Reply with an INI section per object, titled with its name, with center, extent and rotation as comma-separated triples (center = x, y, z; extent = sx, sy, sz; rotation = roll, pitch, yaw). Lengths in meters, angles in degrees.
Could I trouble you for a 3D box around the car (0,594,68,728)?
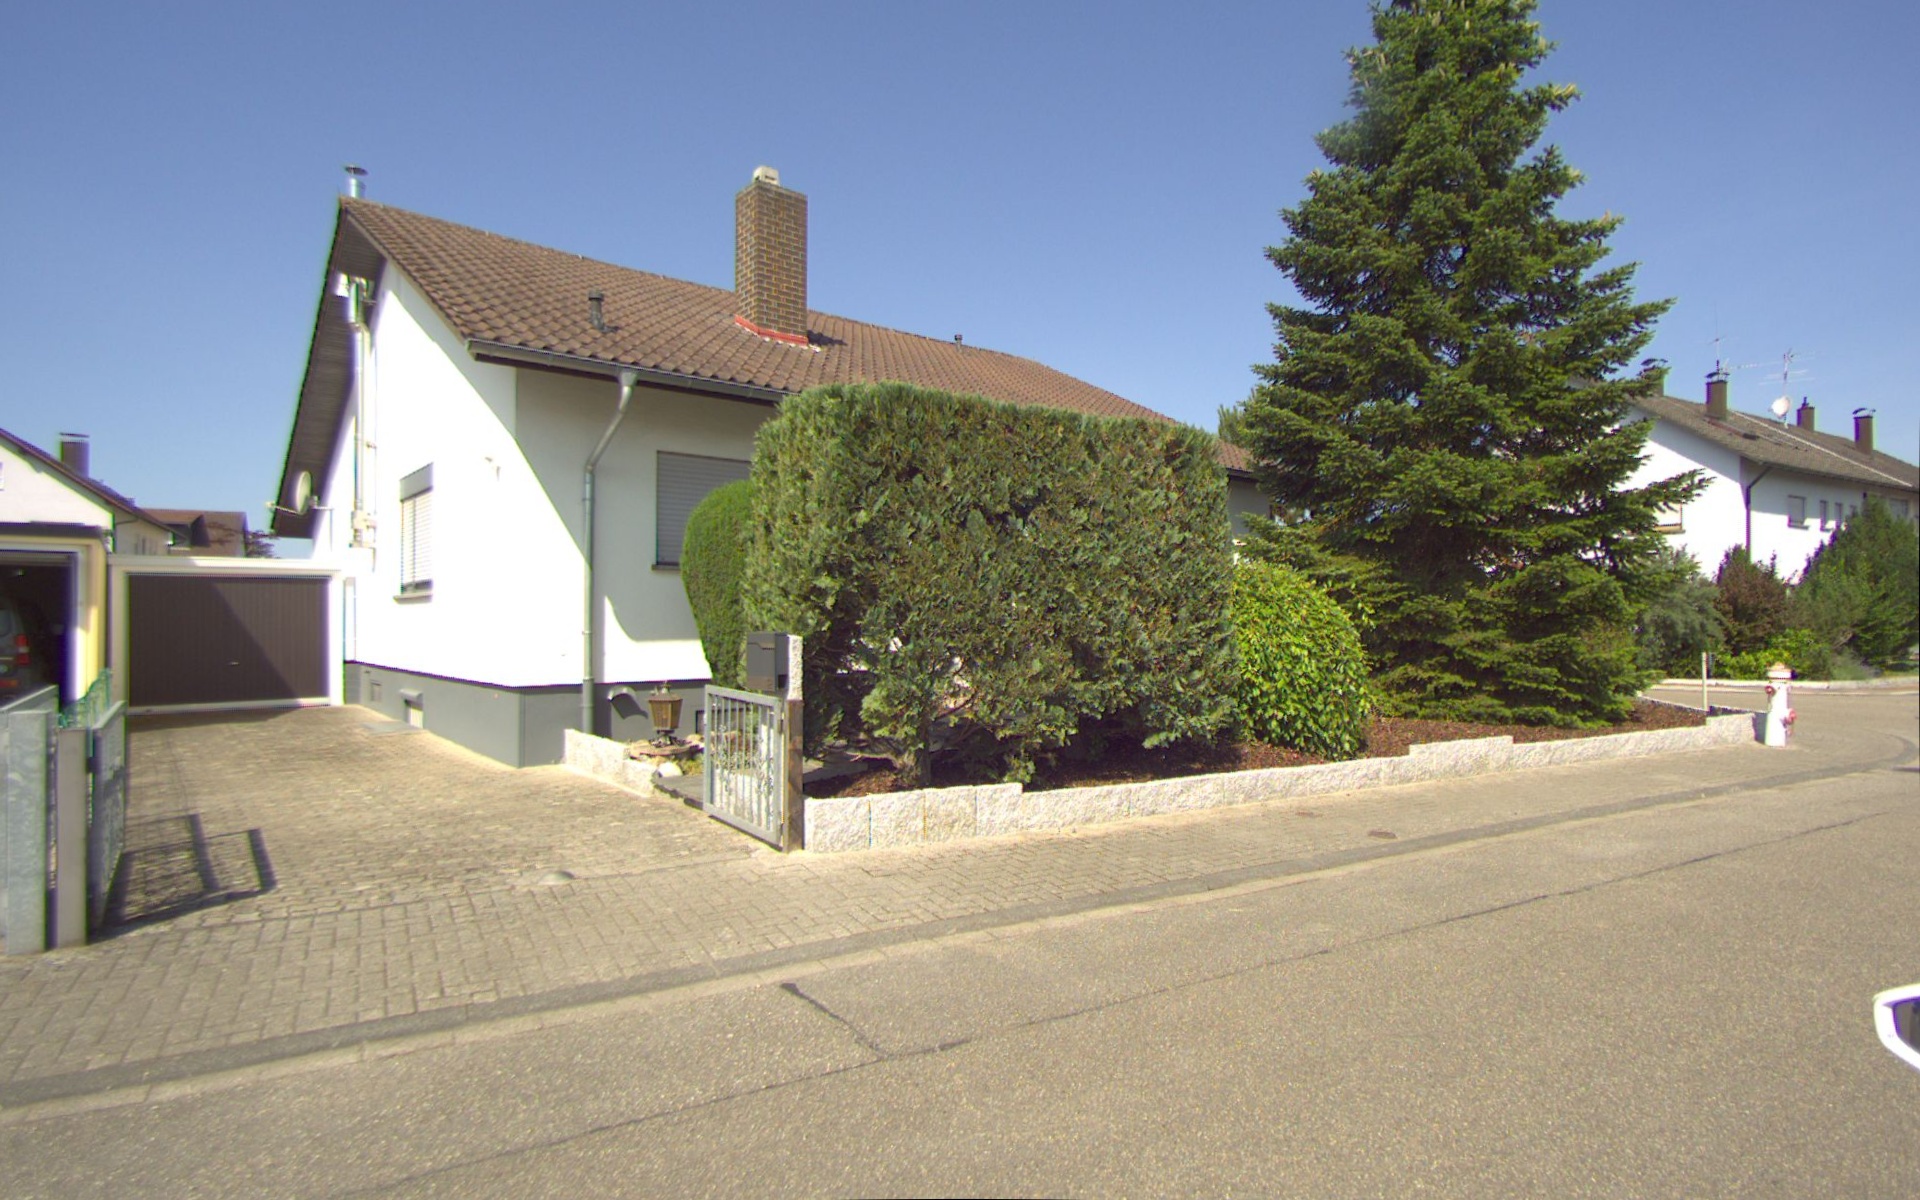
[car]
center = -13.156, 0.793, 13.456
extent = 1.534, 1.632, 3.662
rotation = 1, -2, -38
